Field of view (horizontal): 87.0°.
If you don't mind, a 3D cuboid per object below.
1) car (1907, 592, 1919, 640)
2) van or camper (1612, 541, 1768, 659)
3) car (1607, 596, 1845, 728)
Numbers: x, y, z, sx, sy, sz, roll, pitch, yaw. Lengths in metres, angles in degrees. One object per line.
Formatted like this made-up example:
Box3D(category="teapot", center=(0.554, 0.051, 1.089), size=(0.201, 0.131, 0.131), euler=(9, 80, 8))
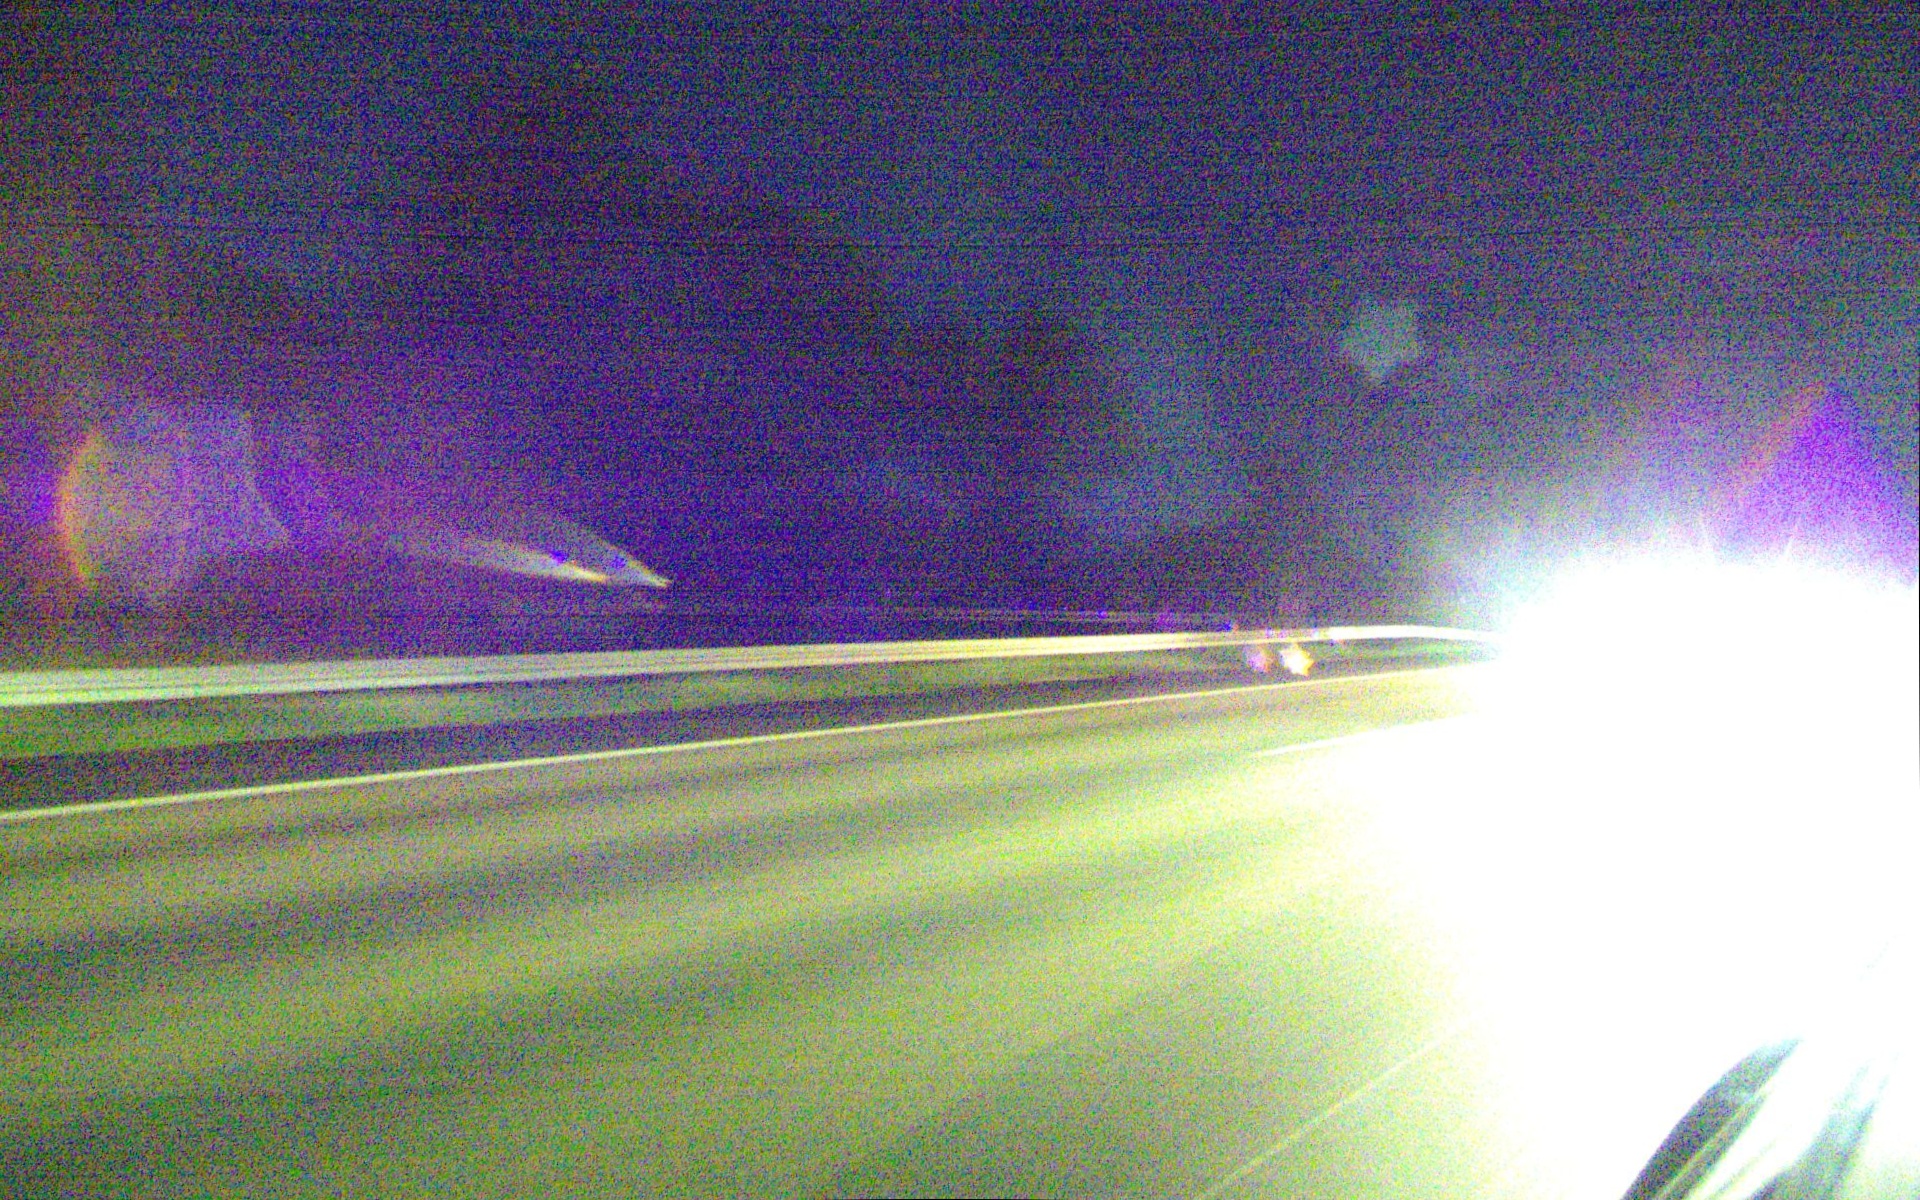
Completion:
Box3D(category="car", center=(33.337, 0.519, 34.019), size=(4.152, 1.560, 1.793), euler=(0, -1, -41))
Box3D(category="van or camper", center=(19.638, -0.012, 27.062), size=(6.690, 2.806, 2.209), euler=(0, 0, -44))
Box3D(category="car", center=(10.180, 0.699, 13.337), size=(4.152, 1.431, 1.689), euler=(0, 1, -41))
